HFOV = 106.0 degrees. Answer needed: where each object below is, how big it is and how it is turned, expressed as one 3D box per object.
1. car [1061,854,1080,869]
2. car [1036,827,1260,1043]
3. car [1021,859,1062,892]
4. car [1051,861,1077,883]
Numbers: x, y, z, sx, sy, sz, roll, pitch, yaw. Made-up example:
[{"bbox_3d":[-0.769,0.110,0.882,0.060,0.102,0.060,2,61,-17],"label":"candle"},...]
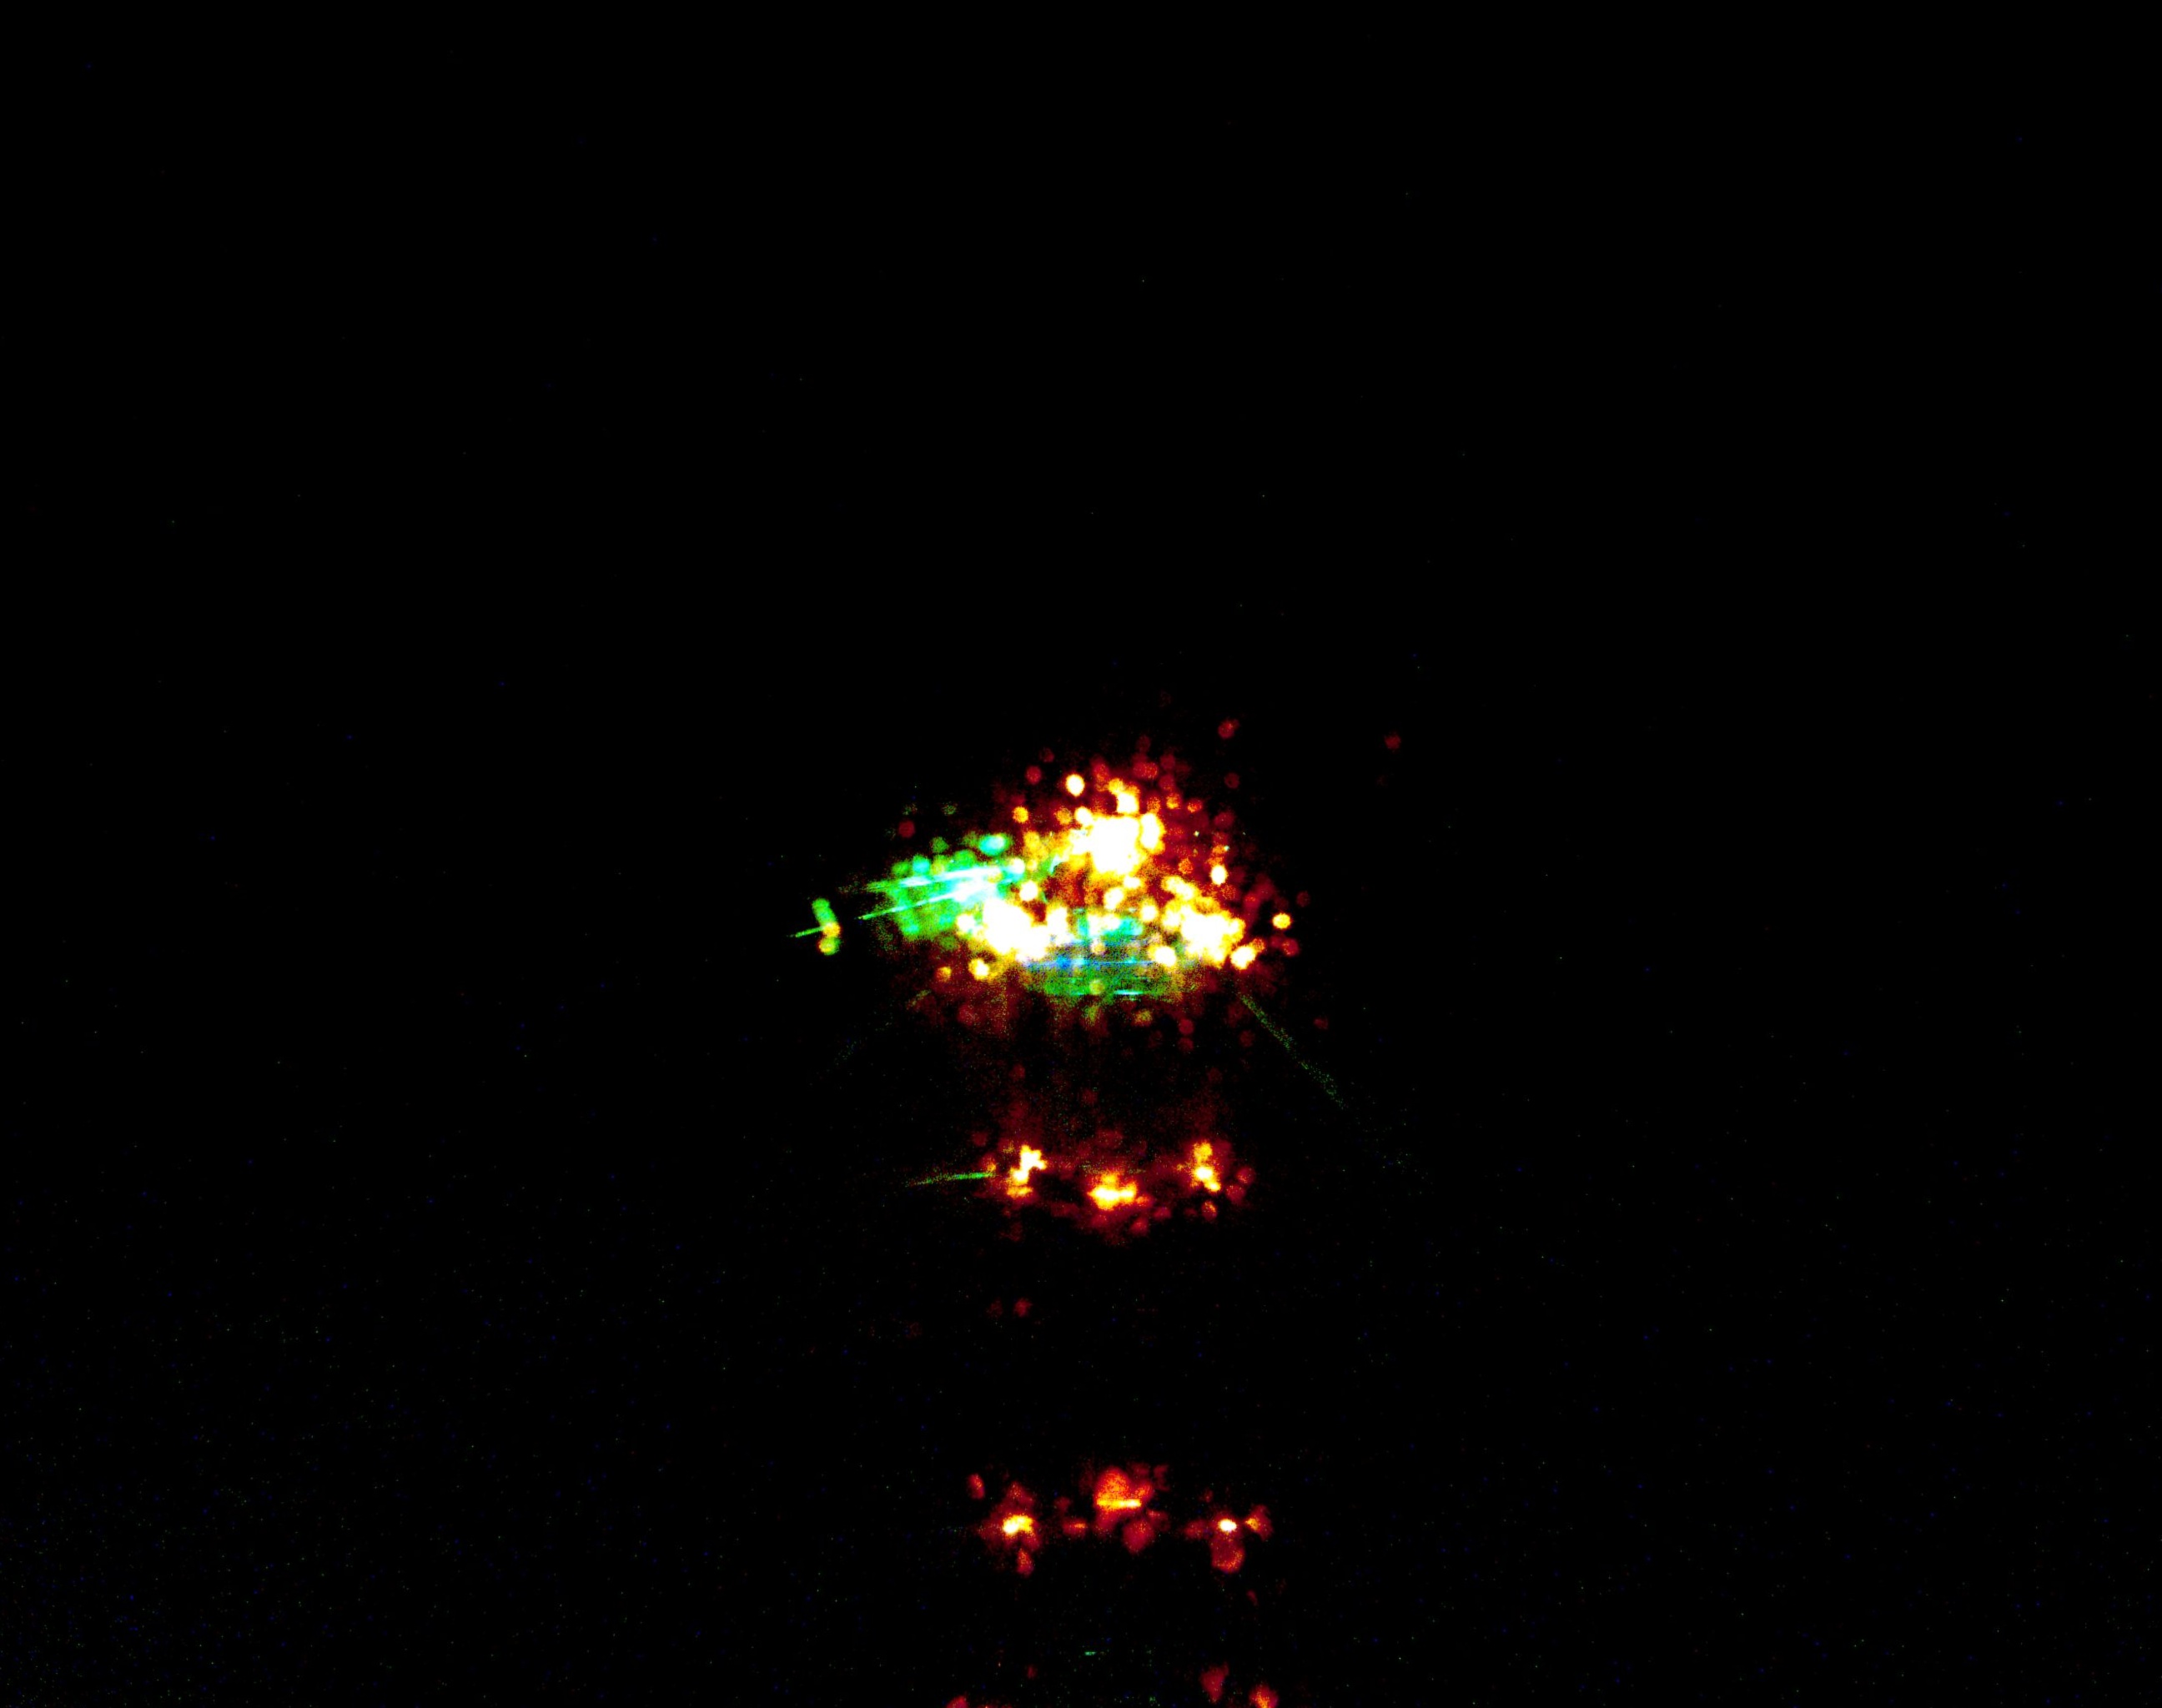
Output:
[{"bbox_3d":[-1.105,0.789,87.117,1.897,1.470,4.275,1,0,1],"label":"car"},{"bbox_3d":[0.615,0.642,8.498,1.768,1.712,4.002,0,0,2],"label":"car"},{"bbox_3d":[-2.103,1.120,44.209,1.945,1.656,4.124,-2,0,0],"label":"car"},{"bbox_3d":[-1.252,1.359,62.394,1.831,1.546,4.258,0,0,1],"label":"car"}]
